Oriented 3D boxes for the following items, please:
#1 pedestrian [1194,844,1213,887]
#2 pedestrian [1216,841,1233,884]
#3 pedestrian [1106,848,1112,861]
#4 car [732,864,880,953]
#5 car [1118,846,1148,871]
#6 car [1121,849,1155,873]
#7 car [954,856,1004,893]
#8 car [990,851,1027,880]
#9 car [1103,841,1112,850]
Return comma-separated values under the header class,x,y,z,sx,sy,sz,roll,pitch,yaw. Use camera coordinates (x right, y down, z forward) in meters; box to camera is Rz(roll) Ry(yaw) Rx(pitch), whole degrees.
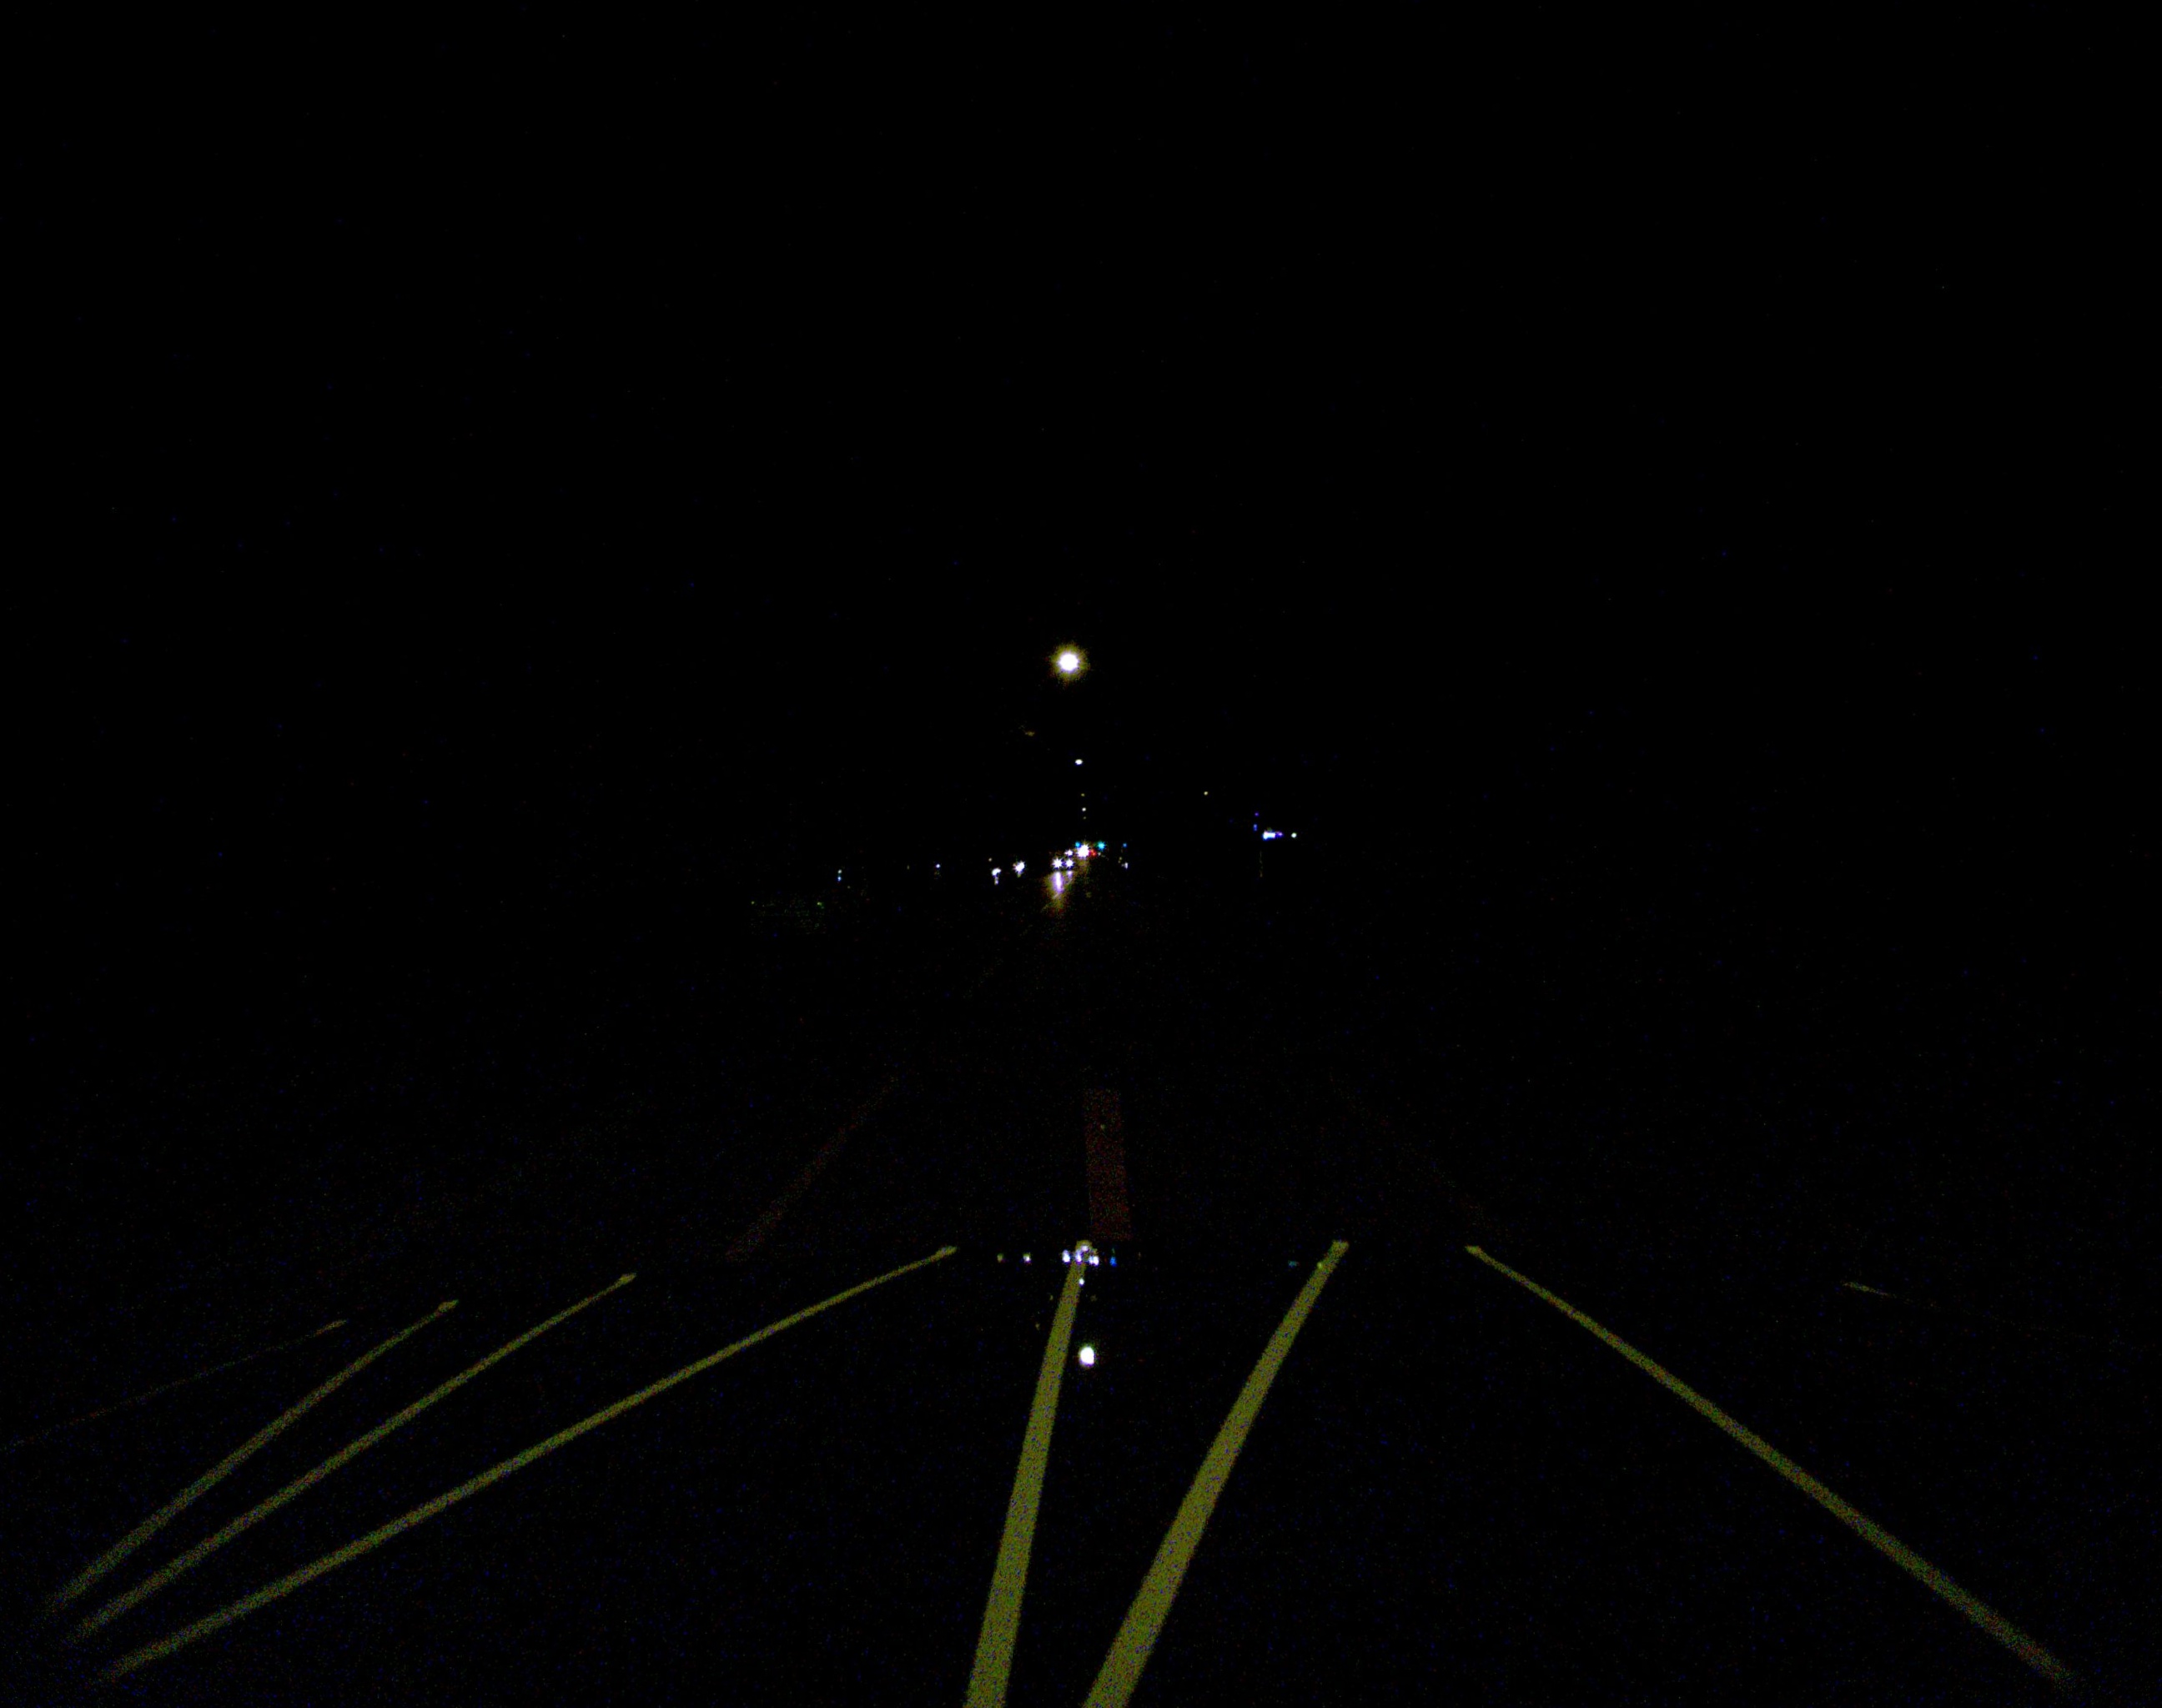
class,x,y,z,sx,sy,sz,roll,pitch,yaw
pedestrian,5.017,0.460,31.155,0.673,1.750,0.500,-2,1,1
pedestrian,5.875,0.343,31.128,0.565,1.750,0.500,-2,1,1
pedestrian,4.354,0.048,118.093,0.804,2.002,0.940,-2,1,1
car,-5.248,0.979,14.988,1.611,1.500,3.486,0,0,1
car,3.851,0.307,56.958,1.998,1.772,3.999,-2,1,1
car,3.876,0.435,52.039,1.998,1.477,3.999,-3,1,1
car,-4.482,0.850,33.906,1.742,1.489,3.889,-1,1,-1
car,-4.473,0.677,47.438,1.852,1.643,4.179,-2,0,0
car,5.350,-1.727,153.878,1.903,1.581,3.661,-2,1,2
